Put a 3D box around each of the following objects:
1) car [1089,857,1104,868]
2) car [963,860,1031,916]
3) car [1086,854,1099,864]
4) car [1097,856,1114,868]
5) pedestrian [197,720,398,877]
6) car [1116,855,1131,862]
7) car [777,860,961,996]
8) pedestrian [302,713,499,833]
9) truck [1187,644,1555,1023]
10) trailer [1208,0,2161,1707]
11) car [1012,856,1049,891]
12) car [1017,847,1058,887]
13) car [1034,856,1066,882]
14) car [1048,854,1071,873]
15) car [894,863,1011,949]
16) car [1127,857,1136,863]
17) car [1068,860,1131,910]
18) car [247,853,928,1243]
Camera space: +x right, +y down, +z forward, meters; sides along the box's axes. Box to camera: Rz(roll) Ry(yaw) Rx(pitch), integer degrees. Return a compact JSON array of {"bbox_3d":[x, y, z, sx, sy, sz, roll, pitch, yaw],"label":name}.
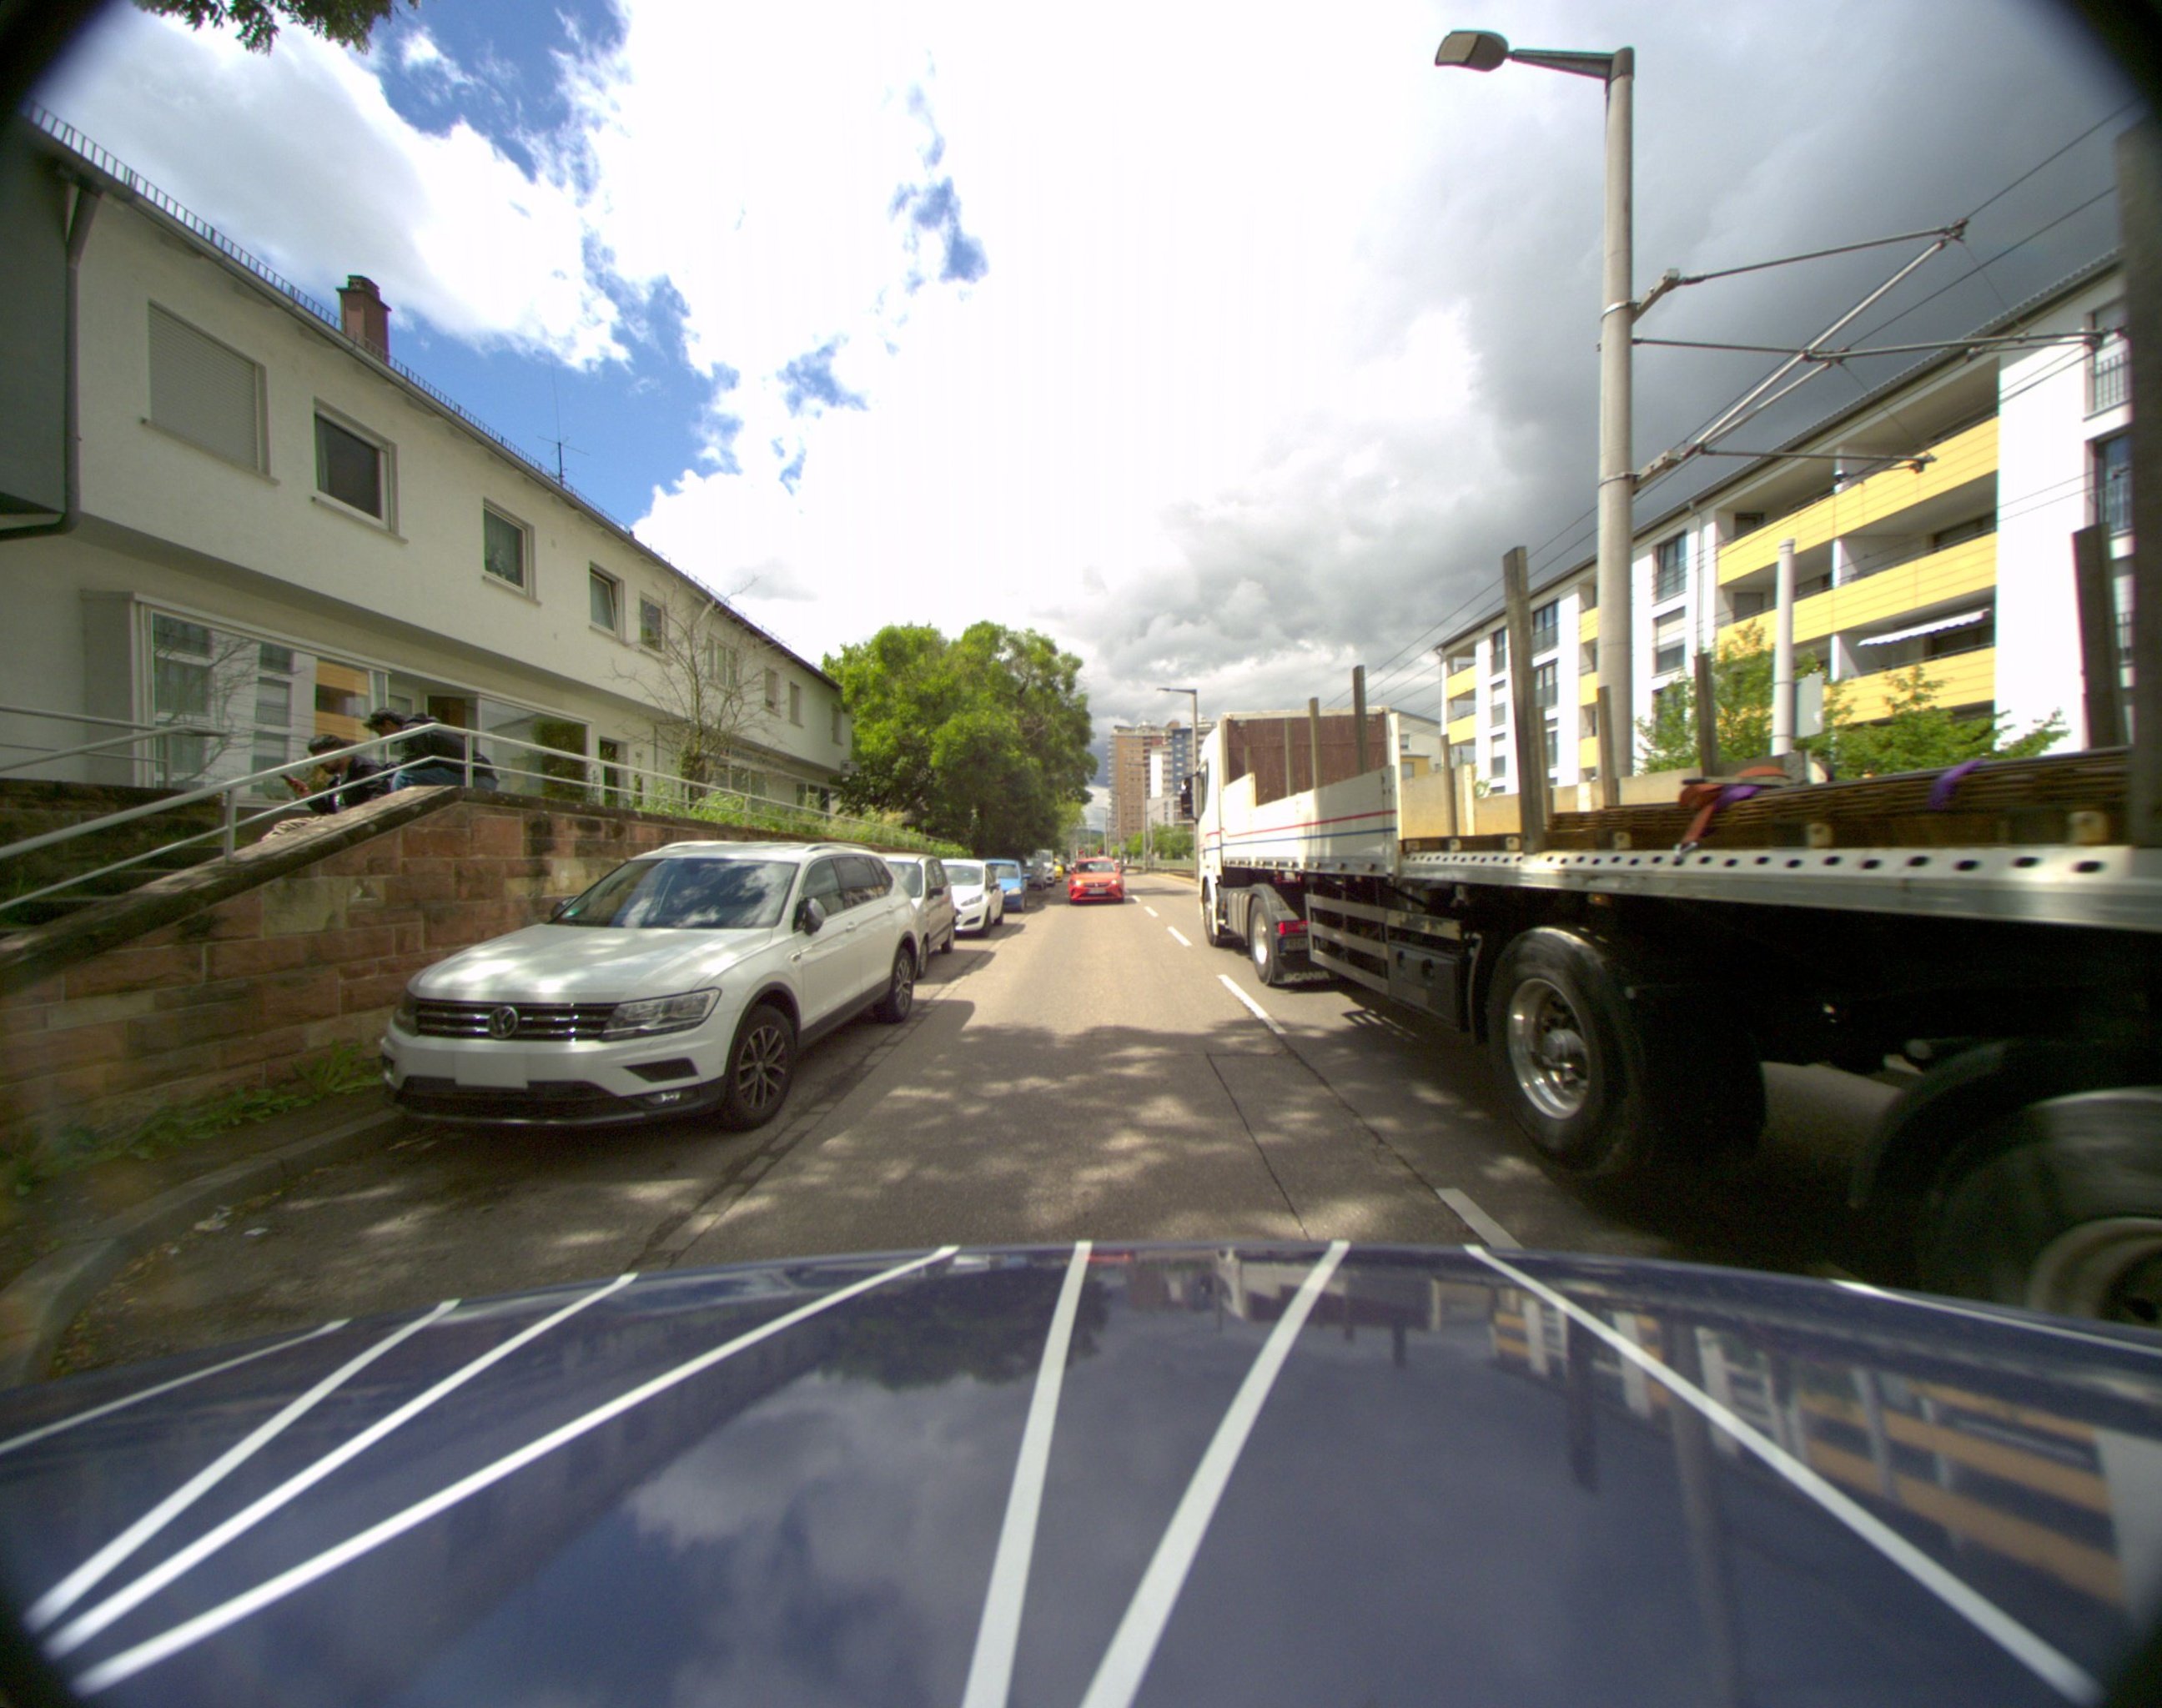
[{"bbox_3d":[2.235,1.187,109.476,1.822,1.494,4.836,-2,0,-3],"label":"car"},{"bbox_3d":[-2.348,0.925,21.976,1.612,1.448,3.675,1,0,-1],"label":"car"},{"bbox_3d":[1.912,0.793,125.029,1.863,1.680,4.432,0,0,-3],"label":"car"},{"bbox_3d":[3.177,1.033,99.860,1.822,1.604,4.601,-2,0,-2],"label":"car"},{"bbox_3d":[-5.027,-0.337,4.913,0.643,0.939,0.616,1,0,0],"label":"pedestrian"},{"bbox_3d":[13.228,1.446,236.625,4.506,1.914,1.877,-1,0,-43],"label":"car"},{"bbox_3d":[-2.743,0.873,10.585,1.585,1.543,3.475,-1,0,-1],"label":"car"},{"bbox_3d":[-4.944,-0.566,5.571,0.797,0.785,0.705,-1,0,0],"label":"pedestrian"},{"bbox_3d":[3.213,-0.175,10.371,2.705,3.559,6.145,-2,0,1],"label":"truck"},{"bbox_3d":[3.034,-0.201,3.978,2.705,3.559,13.676,-2,0,1],"label":"trailer"},{"bbox_3d":[-2.270,0.854,34.684,1.517,1.525,2.847,1,0,0],"label":"car"},{"bbox_3d":[-2.198,0.631,40.172,1.919,1.947,5.744,0,0,-1],"label":"car"},{"bbox_3d":[-1.844,0.875,46.186,1.759,1.434,4.340,1,0,0],"label":"car"},{"bbox_3d":[-2.050,0.856,74.126,2.020,1.778,5.076,0,0,0],"label":"car"},{"bbox_3d":[-2.474,0.953,15.500,1.649,1.481,3.822,-1,0,1],"label":"car"},{"bbox_3d":[13.206,1.534,199.149,1.781,1.530,3.803,-1,0,-3],"label":"car"},{"bbox_3d":[0.496,0.912,24.016,1.792,1.387,4.241,-1,0,-1],"label":"car"},{"bbox_3d":[-2.624,0.839,5.587,1.828,1.672,4.577,0,0,3],"label":"car"}]
